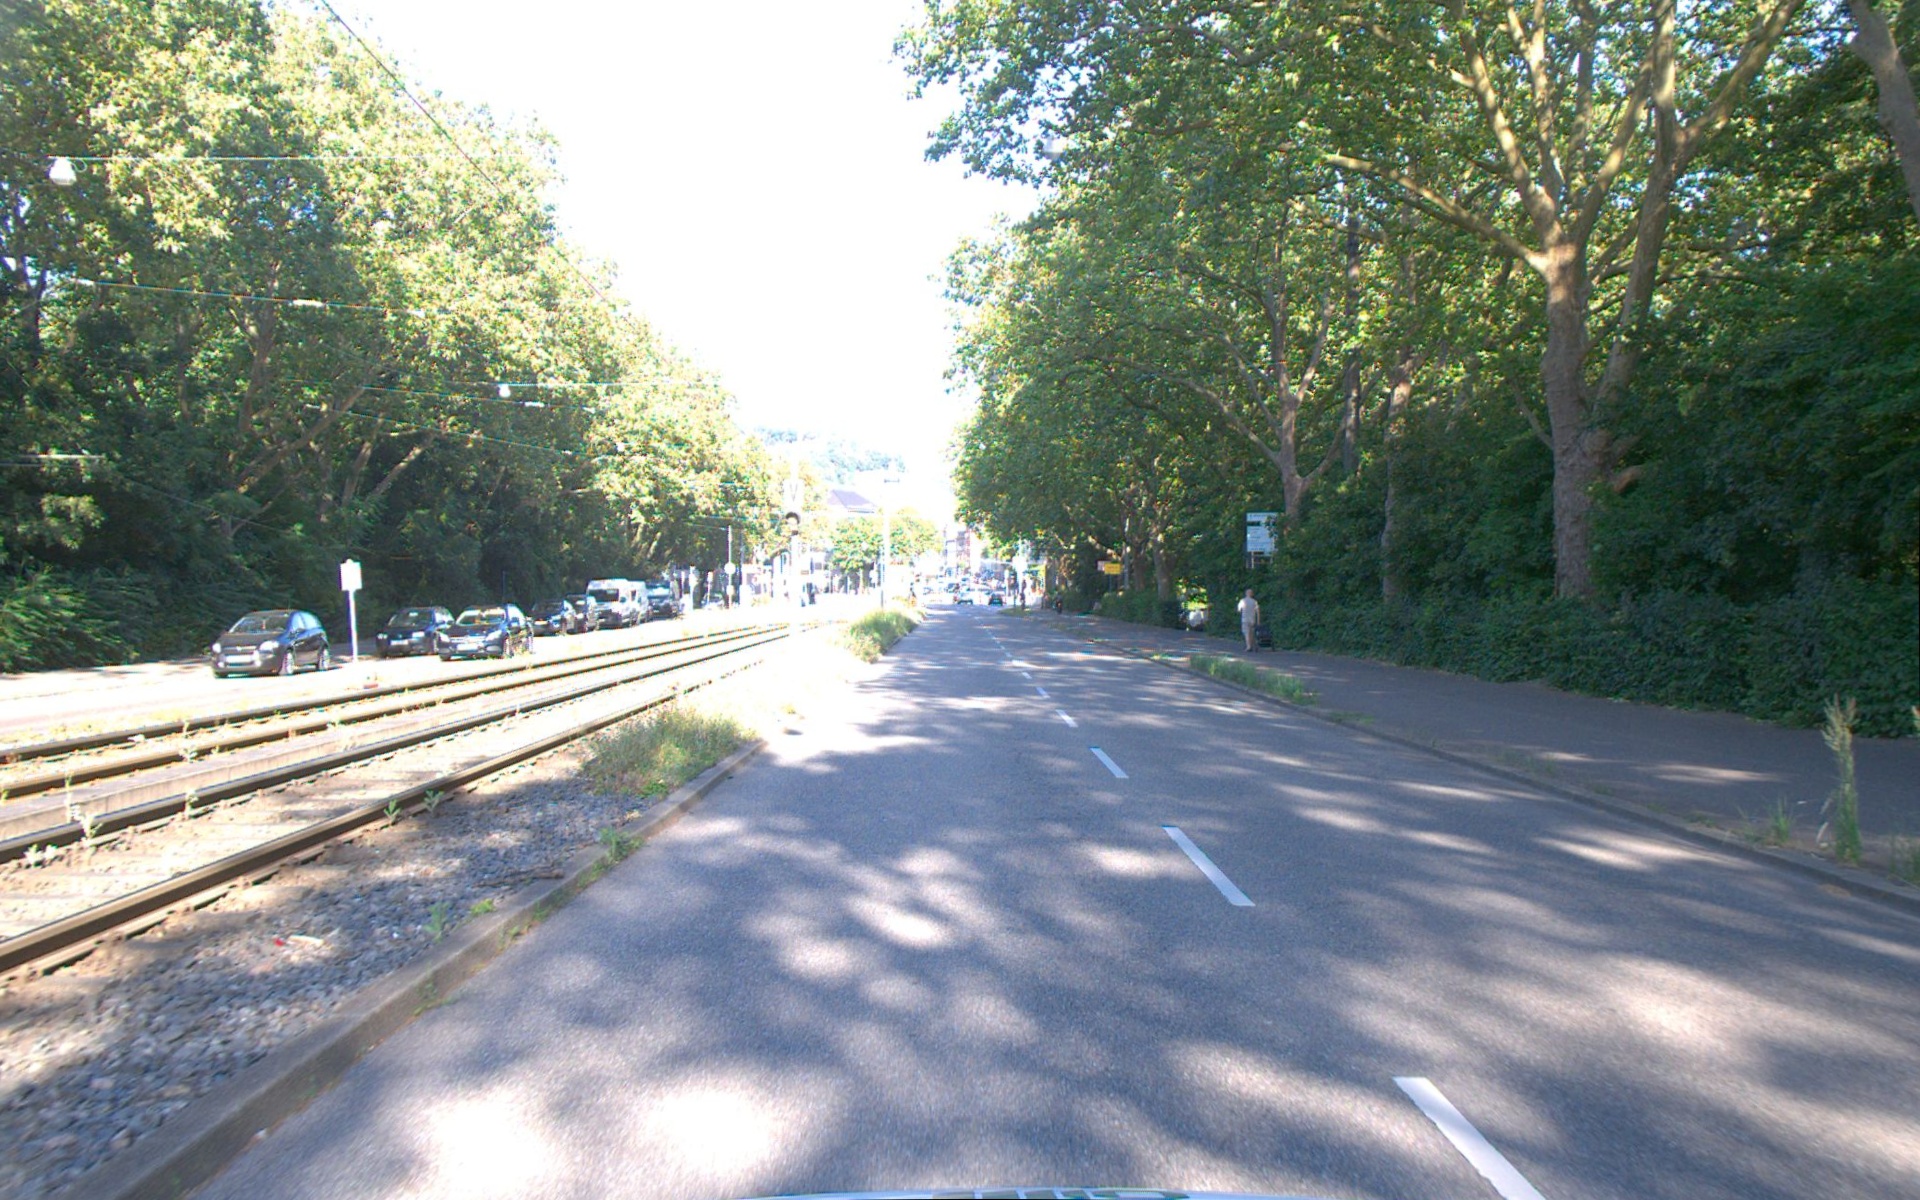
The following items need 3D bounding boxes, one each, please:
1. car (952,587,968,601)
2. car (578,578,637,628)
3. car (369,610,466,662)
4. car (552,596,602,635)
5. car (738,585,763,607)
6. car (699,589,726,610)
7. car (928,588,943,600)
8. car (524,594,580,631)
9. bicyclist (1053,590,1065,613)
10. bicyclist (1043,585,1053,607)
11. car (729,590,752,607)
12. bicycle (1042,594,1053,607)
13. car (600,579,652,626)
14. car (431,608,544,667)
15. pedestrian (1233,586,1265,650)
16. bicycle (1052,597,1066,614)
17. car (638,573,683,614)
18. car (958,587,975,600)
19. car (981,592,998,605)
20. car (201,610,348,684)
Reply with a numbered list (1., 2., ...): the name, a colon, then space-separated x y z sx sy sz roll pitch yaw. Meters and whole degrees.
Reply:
1. car: -0.010 -0.766 205.948 1.764 1.666 4.043 0 1 -2
2. car: -18.881 0.163 88.932 2.140 2.565 6.046 -2 0 -3
3. car: -16.890 1.085 51.700 1.791 1.462 4.321 -2 0 -3
4. car: -18.637 0.735 80.583 1.704 1.758 3.879 -2 0 -3
5. car: -20.764 -0.395 164.376 2.026 2.161 5.087 -2 0 -3
6. car: -20.102 -0.031 134.462 1.865 1.680 3.969 -2 0 -5
7. car: -3.053 -0.725 207.708 1.772 1.478 3.998 1 0 -2
8. car: -18.251 0.556 74.153 1.704 1.582 3.879 -2 0 -3
9. bicyclist: 6.560 0.081 109.287 0.750 1.539 0.650 0 0 -2
10. bicyclist: 7.272 -0.329 137.084 0.685 1.758 1.079 0 0 -3
11. car: -20.584 -0.121 155.430 1.758 1.536 4.338 -2 0 -3
12. bicycle: 7.271 0.045 137.082 0.685 1.127 1.929 0 0 -3
13. car: -19.526 0.156 96.907 2.141 2.565 6.266 -2 0 -5
14. car: -12.903 0.992 45.445 1.882 1.440 4.747 -2 0 -3
15. pedestrian: 7.725 0.476 44.208 0.635 1.664 0.927 -2 0 0
16. bicycle: 6.564 0.345 109.283 0.750 1.127 1.799 0 1 -2
17. car: -20.182 -0.421 111.655 2.140 2.565 6.029 -2 0 -3
18. car: 0.812 -0.743 198.837 1.890 1.498 4.853 0 1 -2
19. car: 3.393 -0.197 193.809 1.764 1.464 4.044 1 1 -2
20. car: -15.898 1.052 38.607 1.791 1.531 4.391 -2 0 -3
